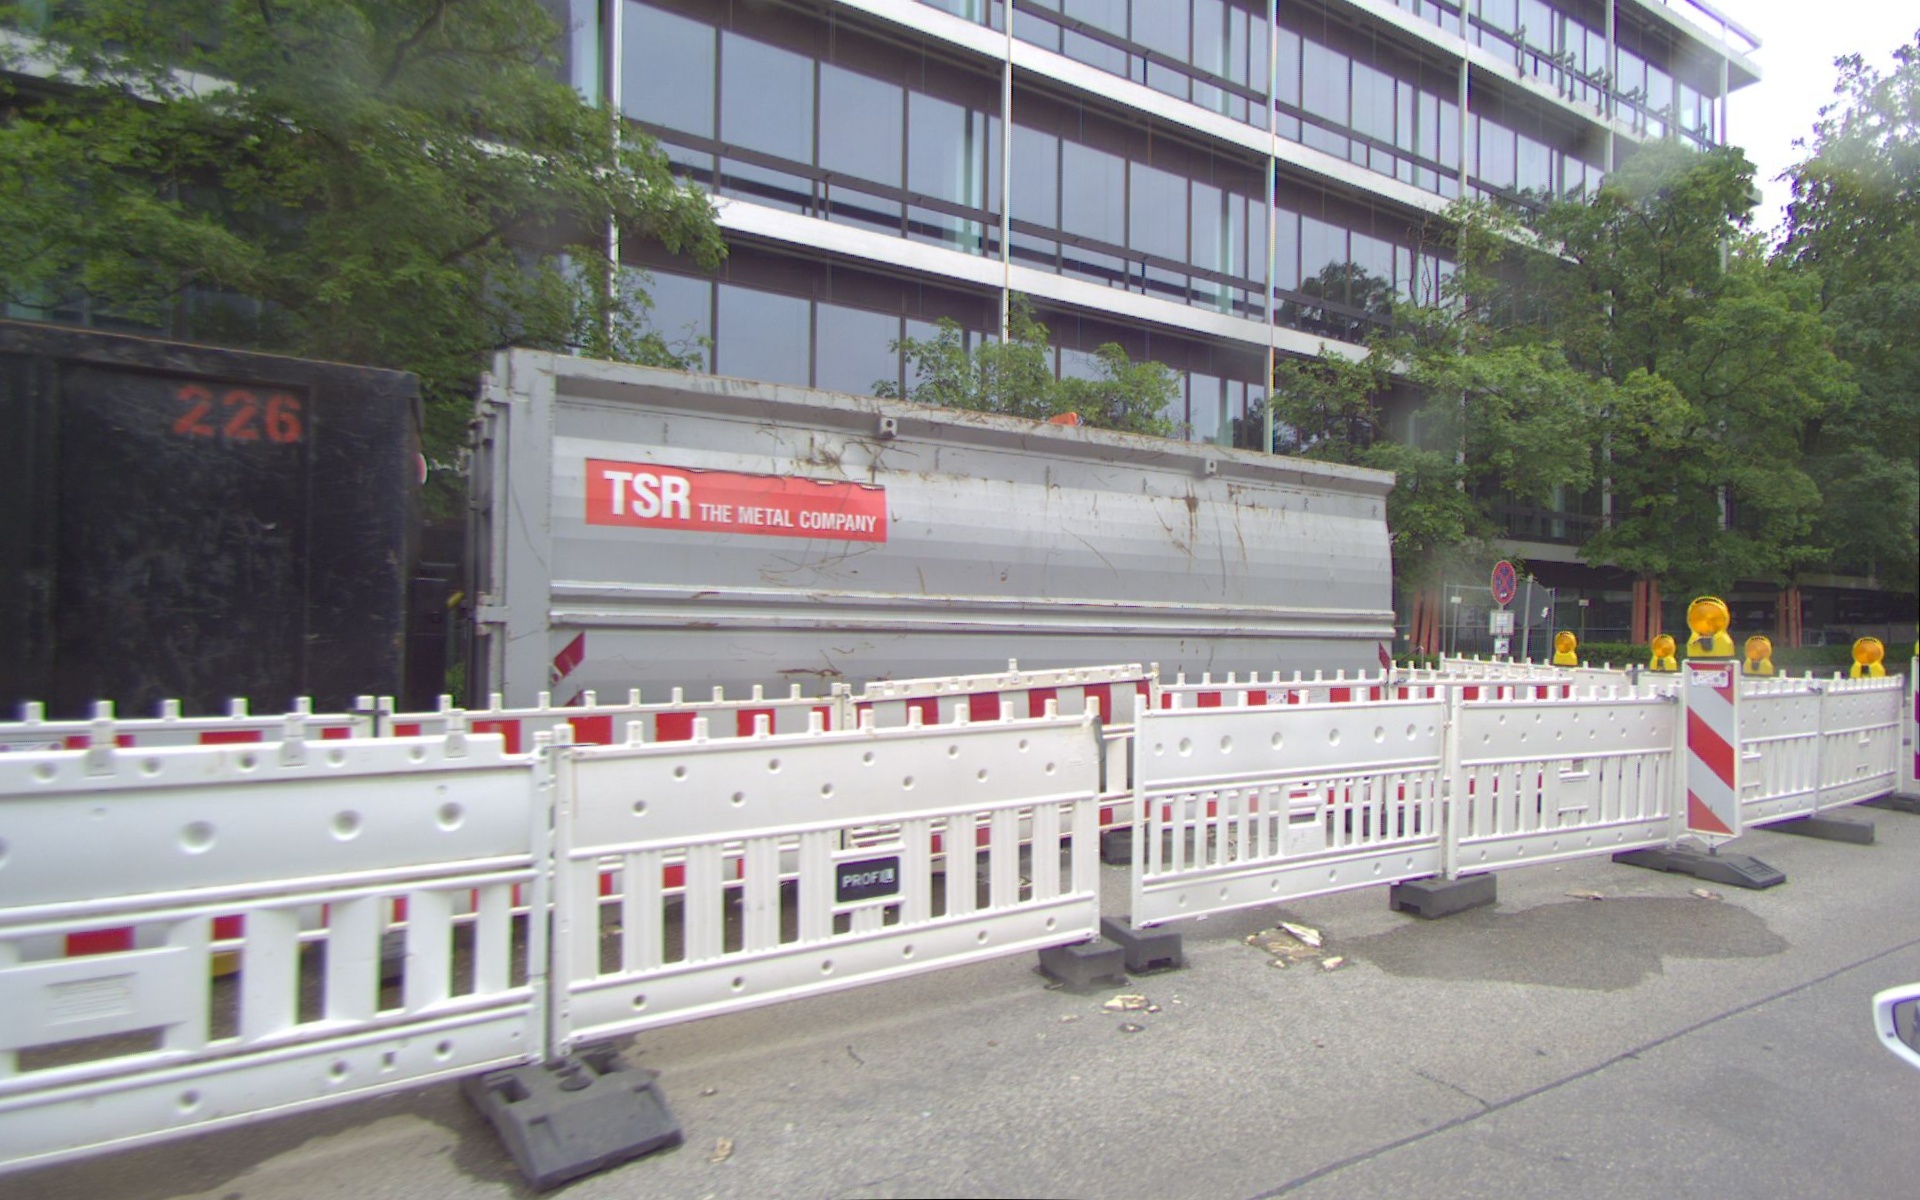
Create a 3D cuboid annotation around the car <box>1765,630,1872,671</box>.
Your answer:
[{"bbox_3d":[32.705,1.901,38.268,3.813,1.493,1.899,1,-1,-28],"label":"car"}]
